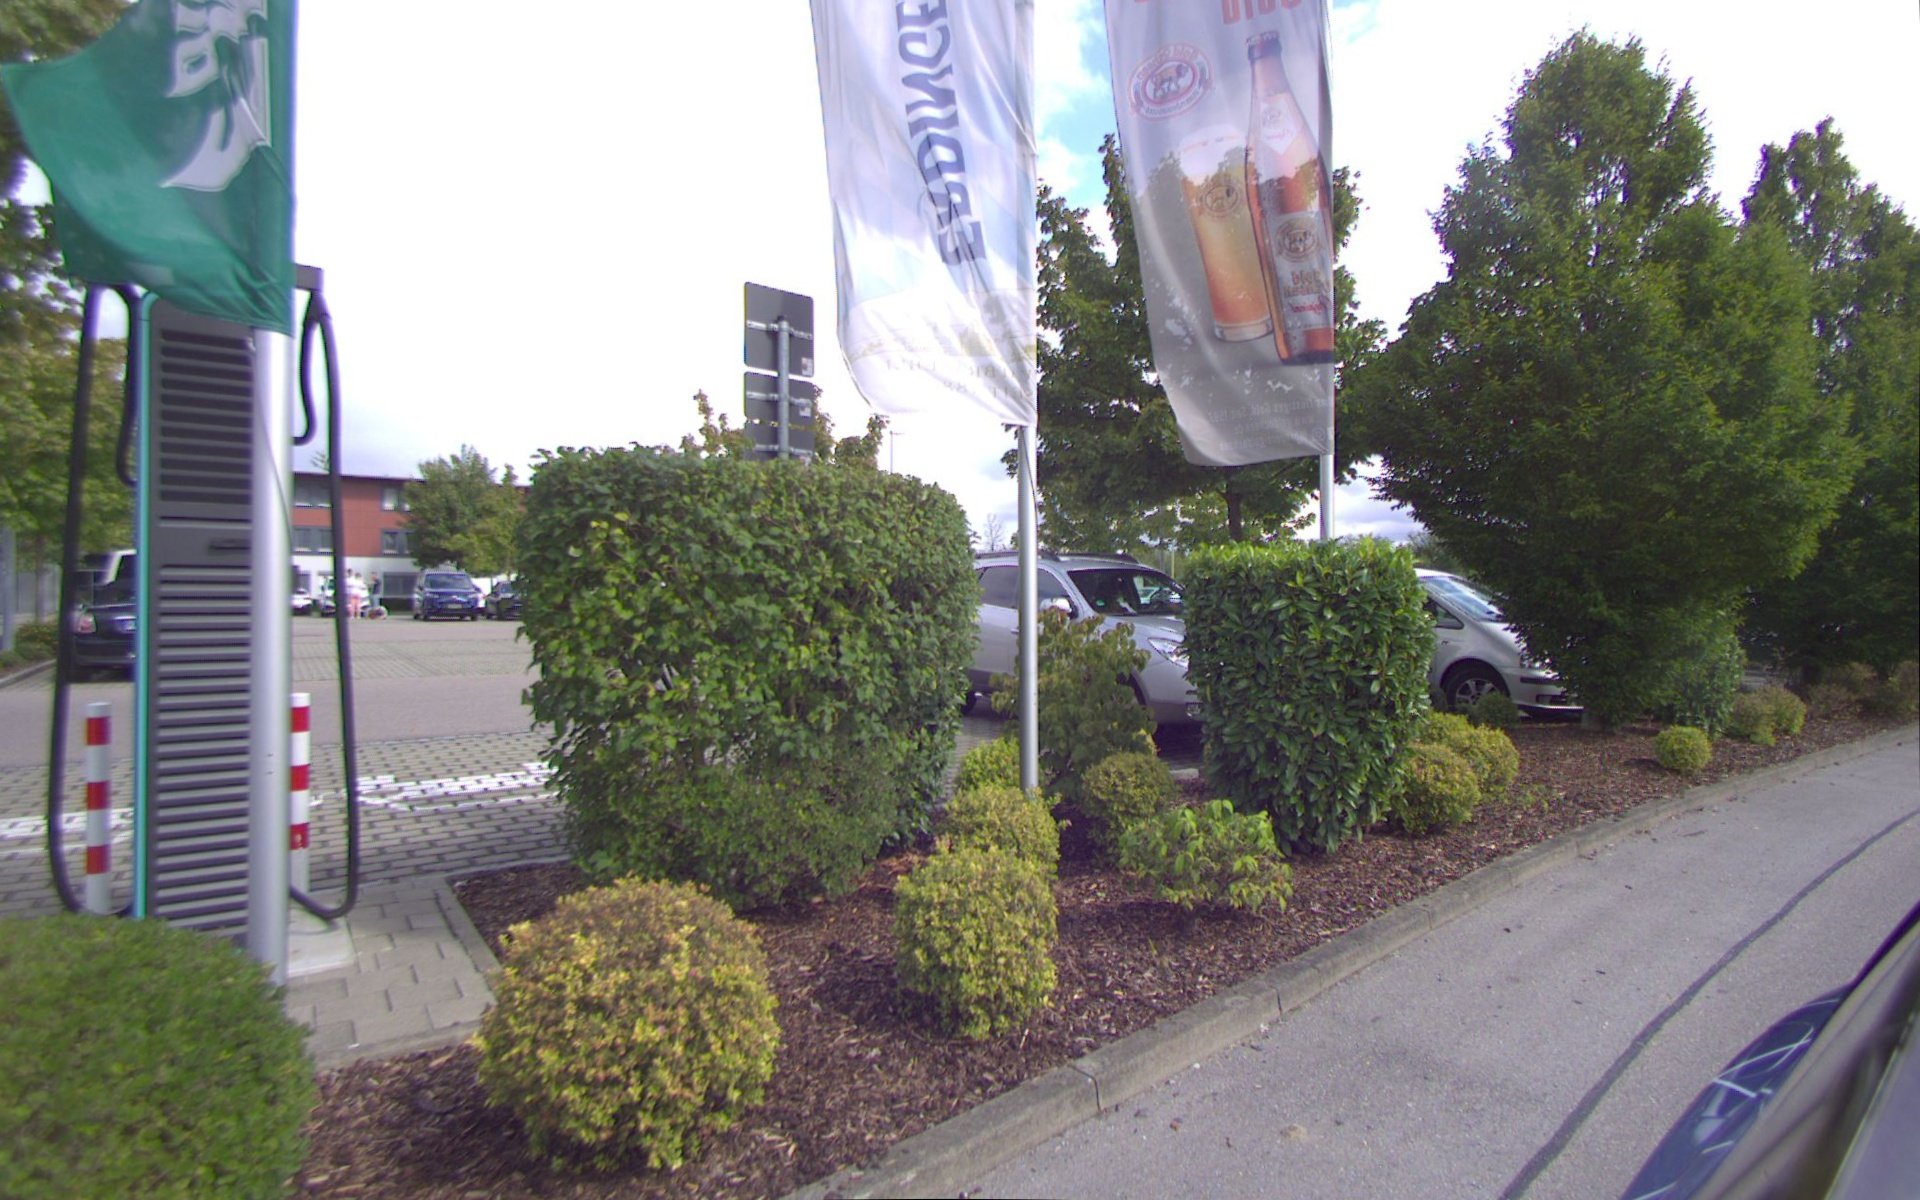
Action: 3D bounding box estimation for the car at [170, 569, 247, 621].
[{"bbox_3d":[-23.376,-0.149,31.436,1.791,1.519,3.842,0,0,-39],"label":"car"}]

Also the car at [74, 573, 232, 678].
[{"bbox_3d":[-11.758,0.327,14.927,1.598,1.368,3.372,0,0,-35],"label":"car"}]

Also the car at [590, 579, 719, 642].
[{"bbox_3d":[-7.327,0.225,23.995,1.688,1.363,4.276,0,0,-35],"label":"car"}]

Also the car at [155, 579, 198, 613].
[{"bbox_3d":[-42.197,-0.216,54.457,1.735,1.742,3.996,1,0,-39],"label":"car"}]

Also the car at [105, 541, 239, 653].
[{"bbox_3d":[-14.667,-0.050,19.034,1.734,1.845,4.366,1,0,-35],"label":"car"}]

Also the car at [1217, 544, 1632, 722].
[{"bbox_3d":[5.307,0.322,12.191,1.625,1.738,4.365,1,0,-33],"label":"car"}]

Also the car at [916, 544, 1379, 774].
[{"bbox_3d":[1.513,0.372,10.053,1.881,1.717,4.684,0,2,-31],"label":"car"}]

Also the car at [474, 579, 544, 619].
[{"bbox_3d":[-16.557,-0.035,37.062,1.501,1.391,3.474,1,0,-39],"label":"car"}]

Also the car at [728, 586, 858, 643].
[{"bbox_3d":[-4.476,0.349,26.607,1.688,1.363,4.276,0,0,-35],"label":"car"}]

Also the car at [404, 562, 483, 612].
[{"bbox_3d":[-18.457,-0.453,36.087,1.735,1.677,3.996,1,0,-39],"label":"car"}]

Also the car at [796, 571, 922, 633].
[{"bbox_3d":[-2.891,0.065,28.233,1.961,1.591,4.002,1,0,-32],"label":"car"}]

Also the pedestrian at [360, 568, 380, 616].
[{"bbox_3d":[-21.469,-0.295,36.842,0.489,1.747,0.416,0,-1,-4],"label":"pedestrian"}]

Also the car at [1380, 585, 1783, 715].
[{"bbox_3d":[7.602,0.522,12.741,1.693,1.367,3.998,0,0,-36],"label":"car"}]
